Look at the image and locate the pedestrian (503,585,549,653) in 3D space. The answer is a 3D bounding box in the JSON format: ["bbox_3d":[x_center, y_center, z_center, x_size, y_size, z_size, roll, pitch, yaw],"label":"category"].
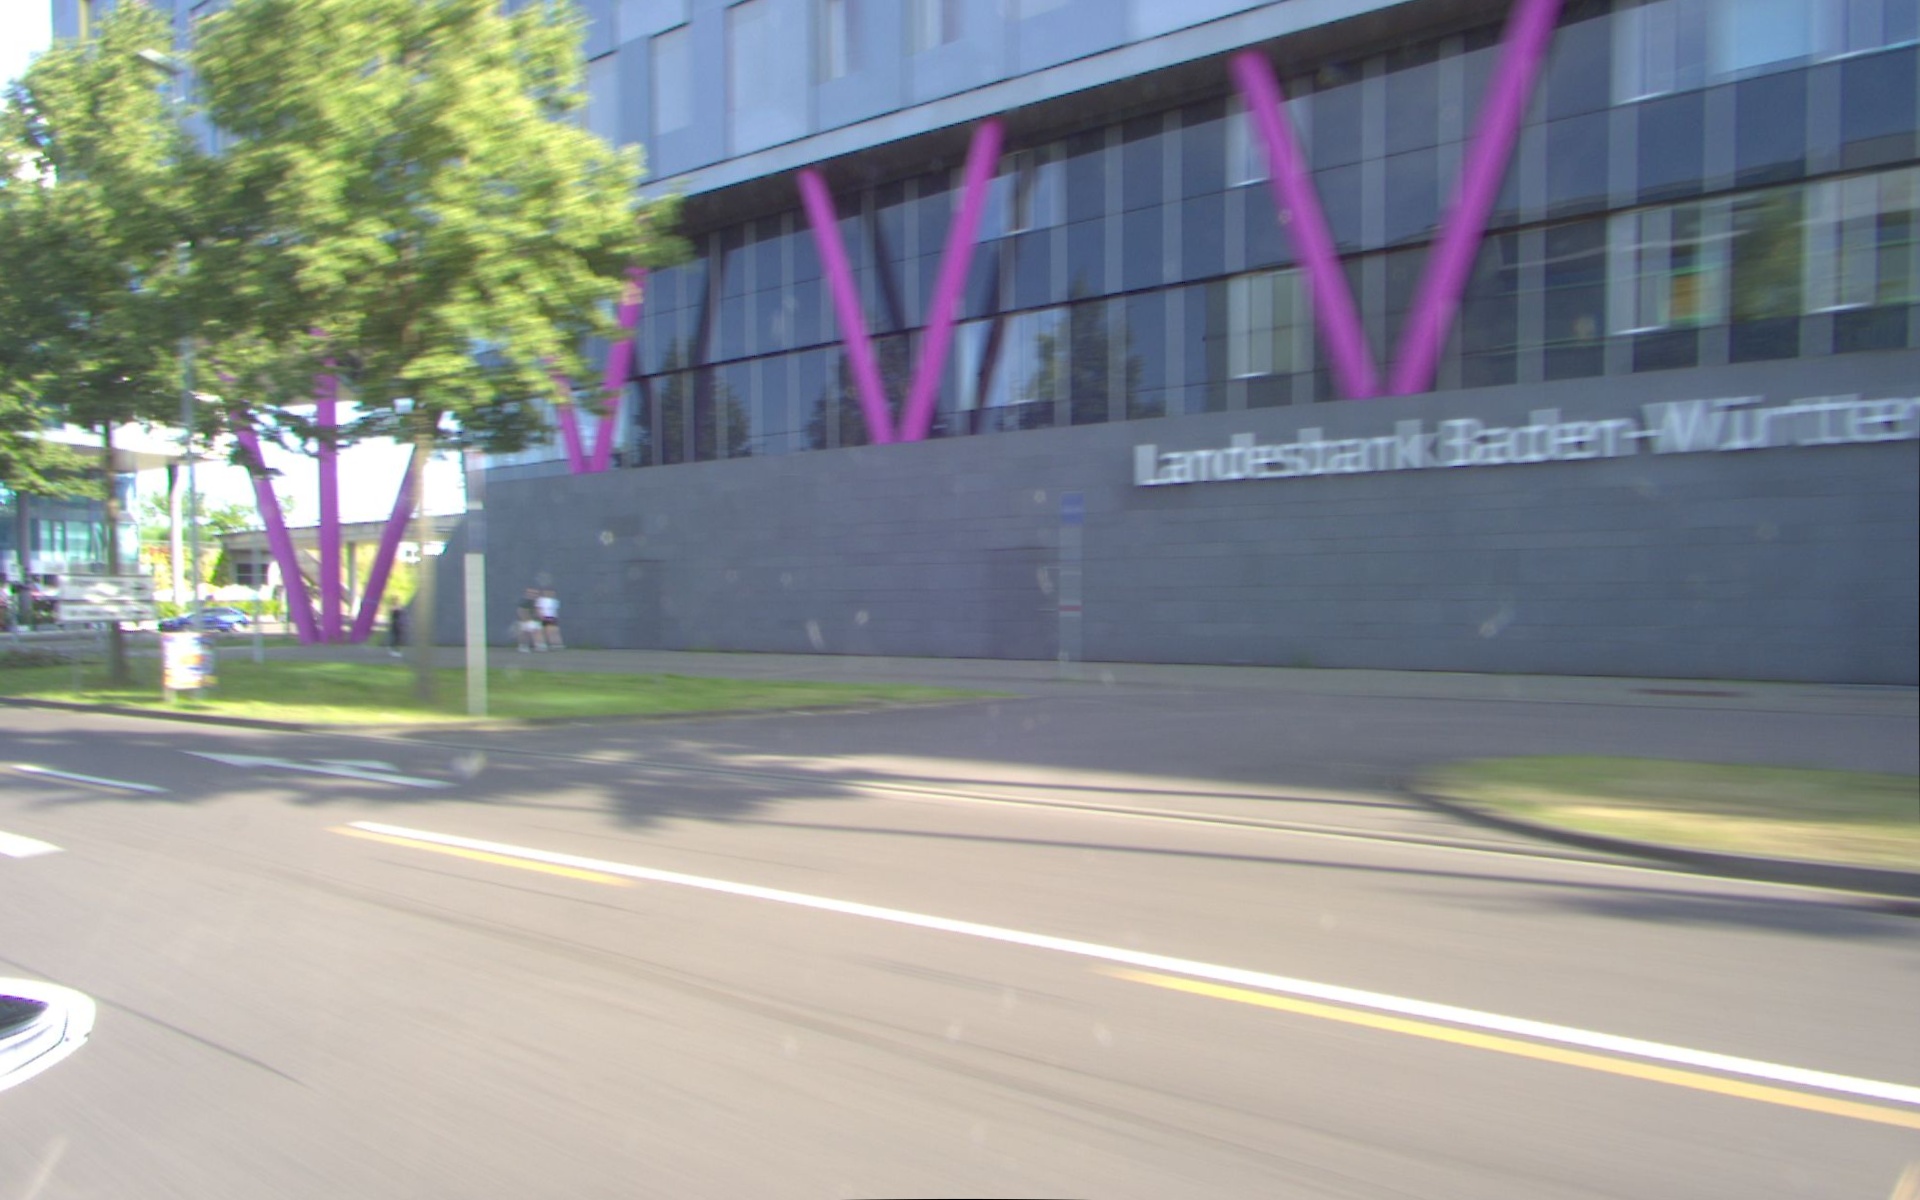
[{"bbox_3d":[-11.835,0.508,27.309,0.831,1.818,0.753,0,3,28],"label":"pedestrian"}]

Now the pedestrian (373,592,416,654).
[{"bbox_3d":[-15.562,0.631,27.565,0.725,1.661,0.693,0,3,28],"label":"pedestrian"}]

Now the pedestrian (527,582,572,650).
[{"bbox_3d":[-11.375,0.436,27.761,0.839,1.850,0.767,0,2,28],"label":"pedestrian"}]

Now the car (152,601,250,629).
[{"bbox_3d":[-44.245,0.845,58.442,1.830,1.443,4.179,1,1,28],"label":"car"}]
